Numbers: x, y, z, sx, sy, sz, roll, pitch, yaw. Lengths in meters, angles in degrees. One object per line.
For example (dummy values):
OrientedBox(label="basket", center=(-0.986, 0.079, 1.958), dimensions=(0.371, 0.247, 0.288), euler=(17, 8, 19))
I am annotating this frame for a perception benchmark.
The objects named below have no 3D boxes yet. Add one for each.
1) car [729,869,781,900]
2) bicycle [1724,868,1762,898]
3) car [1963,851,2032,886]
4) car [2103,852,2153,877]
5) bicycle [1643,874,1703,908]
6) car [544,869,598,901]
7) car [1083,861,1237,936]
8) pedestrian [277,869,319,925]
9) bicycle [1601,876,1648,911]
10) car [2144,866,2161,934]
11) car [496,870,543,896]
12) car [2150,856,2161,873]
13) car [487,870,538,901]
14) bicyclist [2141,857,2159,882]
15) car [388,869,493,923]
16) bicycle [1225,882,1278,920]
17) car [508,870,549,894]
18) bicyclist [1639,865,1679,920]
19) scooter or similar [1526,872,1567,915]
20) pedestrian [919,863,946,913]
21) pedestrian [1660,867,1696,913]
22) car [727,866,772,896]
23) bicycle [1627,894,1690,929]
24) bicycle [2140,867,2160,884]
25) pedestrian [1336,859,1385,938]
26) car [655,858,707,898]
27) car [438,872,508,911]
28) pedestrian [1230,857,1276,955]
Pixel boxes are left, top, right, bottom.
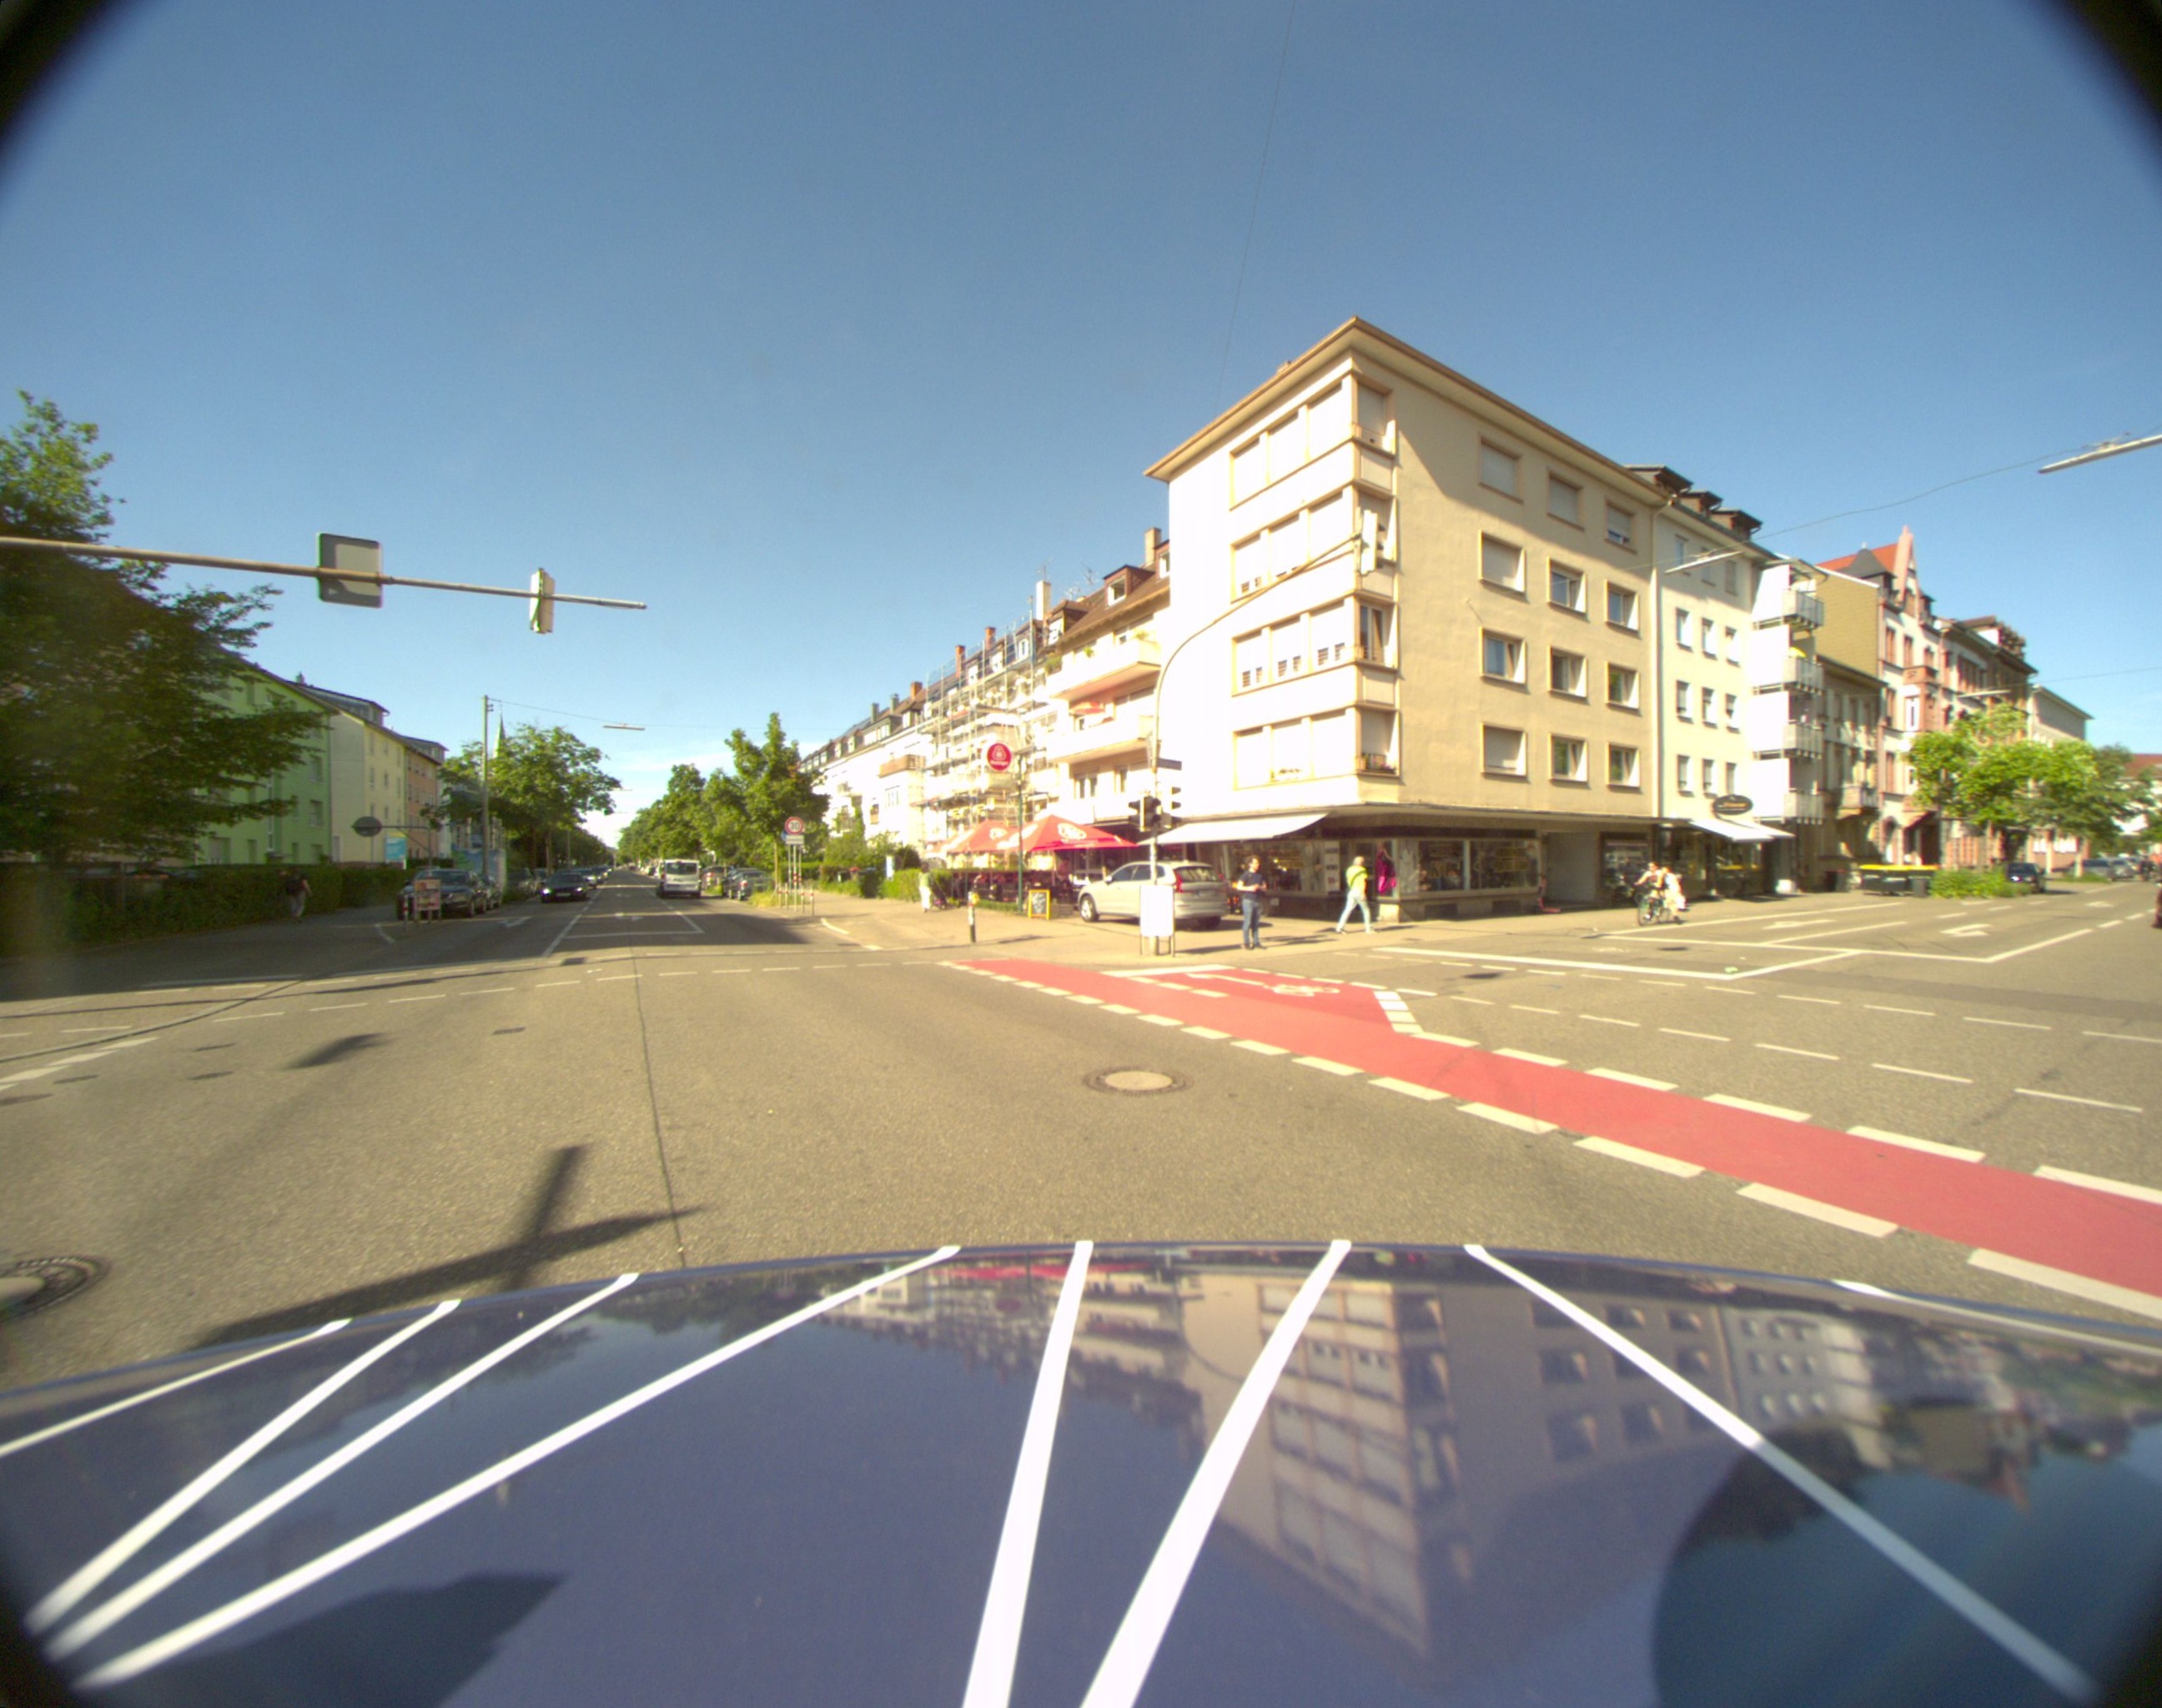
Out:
OrientedBox(label="car", center=(-15.582, 1.421, 36.202), dimensions=(1.717, 1.306, 3.990), euler=(0, 0, -31))
OrientedBox(label="bicycle", center=(26.530, 1.139, 30.454), dimensions=(1.777, 1.137, 0.597), euler=(0, 3, -31))
OrientedBox(label="car", center=(43.939, 0.686, 36.413), dimensions=(3.553, 1.586, 1.625), euler=(0, 0, -32))
OrientedBox(label="car", center=(67.726, 0.662, 49.148), dimensions=(3.553, 1.586, 1.625), euler=(0, 0, -32))
OrientedBox(label="bicycle", center=(20.114, 1.238, 25.852), dimensions=(1.491, 1.100, 0.725), euler=(0, 0, 27))
OrientedBox(label="car", center=(-24.322, 1.444, 36.354), dimensions=(1.873, 1.368, 3.990), euler=(-2, 0, -31))
OrientedBox(label="car", center=(1.875, 1.016, 19.161), dimensions=(1.828, 1.653, 3.990), euler=(0, 0, -31))
OrientedBox(label="pedestrian", center=(-22.365, 1.219, 21.709), dimensions=(0.647, 1.577, 0.570), euler=(0, 0, -25))
OrientedBox(label="bicycle", center=(17.872, 1.271, 24.982), dimensions=(1.803, 1.079, 0.406), euler=(0, 3, -27))
OrientedBox(label="car", center=(25.528, 1.020, 17.088), dimensions=(4.434, 1.405, 1.805), euler=(0, 2, -35))
OrientedBox(label="car", center=(-30.760, 1.547, 41.682), dimensions=(1.688, 1.329, 3.514), euler=(0, 0, -30))
OrientedBox(label="car", center=(80.384, 0.759, 55.916), dimensions=(3.552, 1.269, 1.625), euler=(0, 0, -30))
OrientedBox(label="car", center=(-28.824, 1.560, 38.598), dimensions=(1.688, 1.404, 3.514), euler=(0, 0, -31))
OrientedBox(label="bicyclist", center=(61.730, 0.896, 43.865), dimensions=(0.790, 1.383, 0.543), euler=(0, 0, -32))
OrientedBox(label="car", center=(-21.012, 1.302, 25.108), dimensions=(2.003, 1.564, 3.990), euler=(0, 0, -31))
OrientedBox(label="bicycle", center=(5.005, 1.356, 22.433), dimensions=(0.568, 1.011, 1.892), euler=(0, 0, -20))
OrientedBox(label="car", center=(-33.826, 1.679, 46.565), dimensions=(1.688, 1.329, 3.514), euler=(0, 0, -31))
OrientedBox(label="bicyclist", center=(14.880, 0.971, 19.560), dimensions=(0.665, 1.369, 0.582), euler=(-1, 0, -27))
OrientedBox(label="scooter or similar", center=(13.869, 1.162, 22.634), dimensions=(1.231, 1.217, 0.526), euler=(0, 0, -32))
OrientedBox(label="pedestrian", center=(-4.791, 1.082, 24.505), dimensions=(0.646, 1.608, 0.593), euler=(-1, 0, -36))
OrientedBox(label="pedestrian", center=(18.969, 1.137, 24.143), dimensions=(0.626, 1.433, 0.774), euler=(-1, 0, -36))
OrientedBox(label="car", center=(-17.736, 1.406, 40.580), dimensions=(1.717, 1.445, 3.990), euler=(0, 0, -31))
OrientedBox(label="bicycle", center=(14.869, 1.467, 19.556), dimensions=(1.712, 0.801, 0.582), euler=(0, 0, -27))
OrientedBox(label="bicycle", center=(61.602, 1.231, 43.792), dimensions=(1.829, 0.897, 0.543), euler=(0, 0, -32))
OrientedBox(label="pedestrian", center=(6.364, 0.999, 17.325), dimensions=(0.764, 1.747, 0.662), euler=(-1, 0, -26))
OrientedBox(label="car", center=(-20.673, 1.240, 39.192), dimensions=(1.978, 1.928, 5.044), euler=(-1, -1, -32))
OrientedBox(label="car", center=(-23.976, 1.435, 30.082), dimensions=(1.688, 1.404, 3.514), euler=(0, 0, -31))
OrientedBox(label="pedestrian", center=(3.259, 0.957, 14.415), dimensions=(0.627, 1.811, 0.607), euler=(0, 0, 44))
